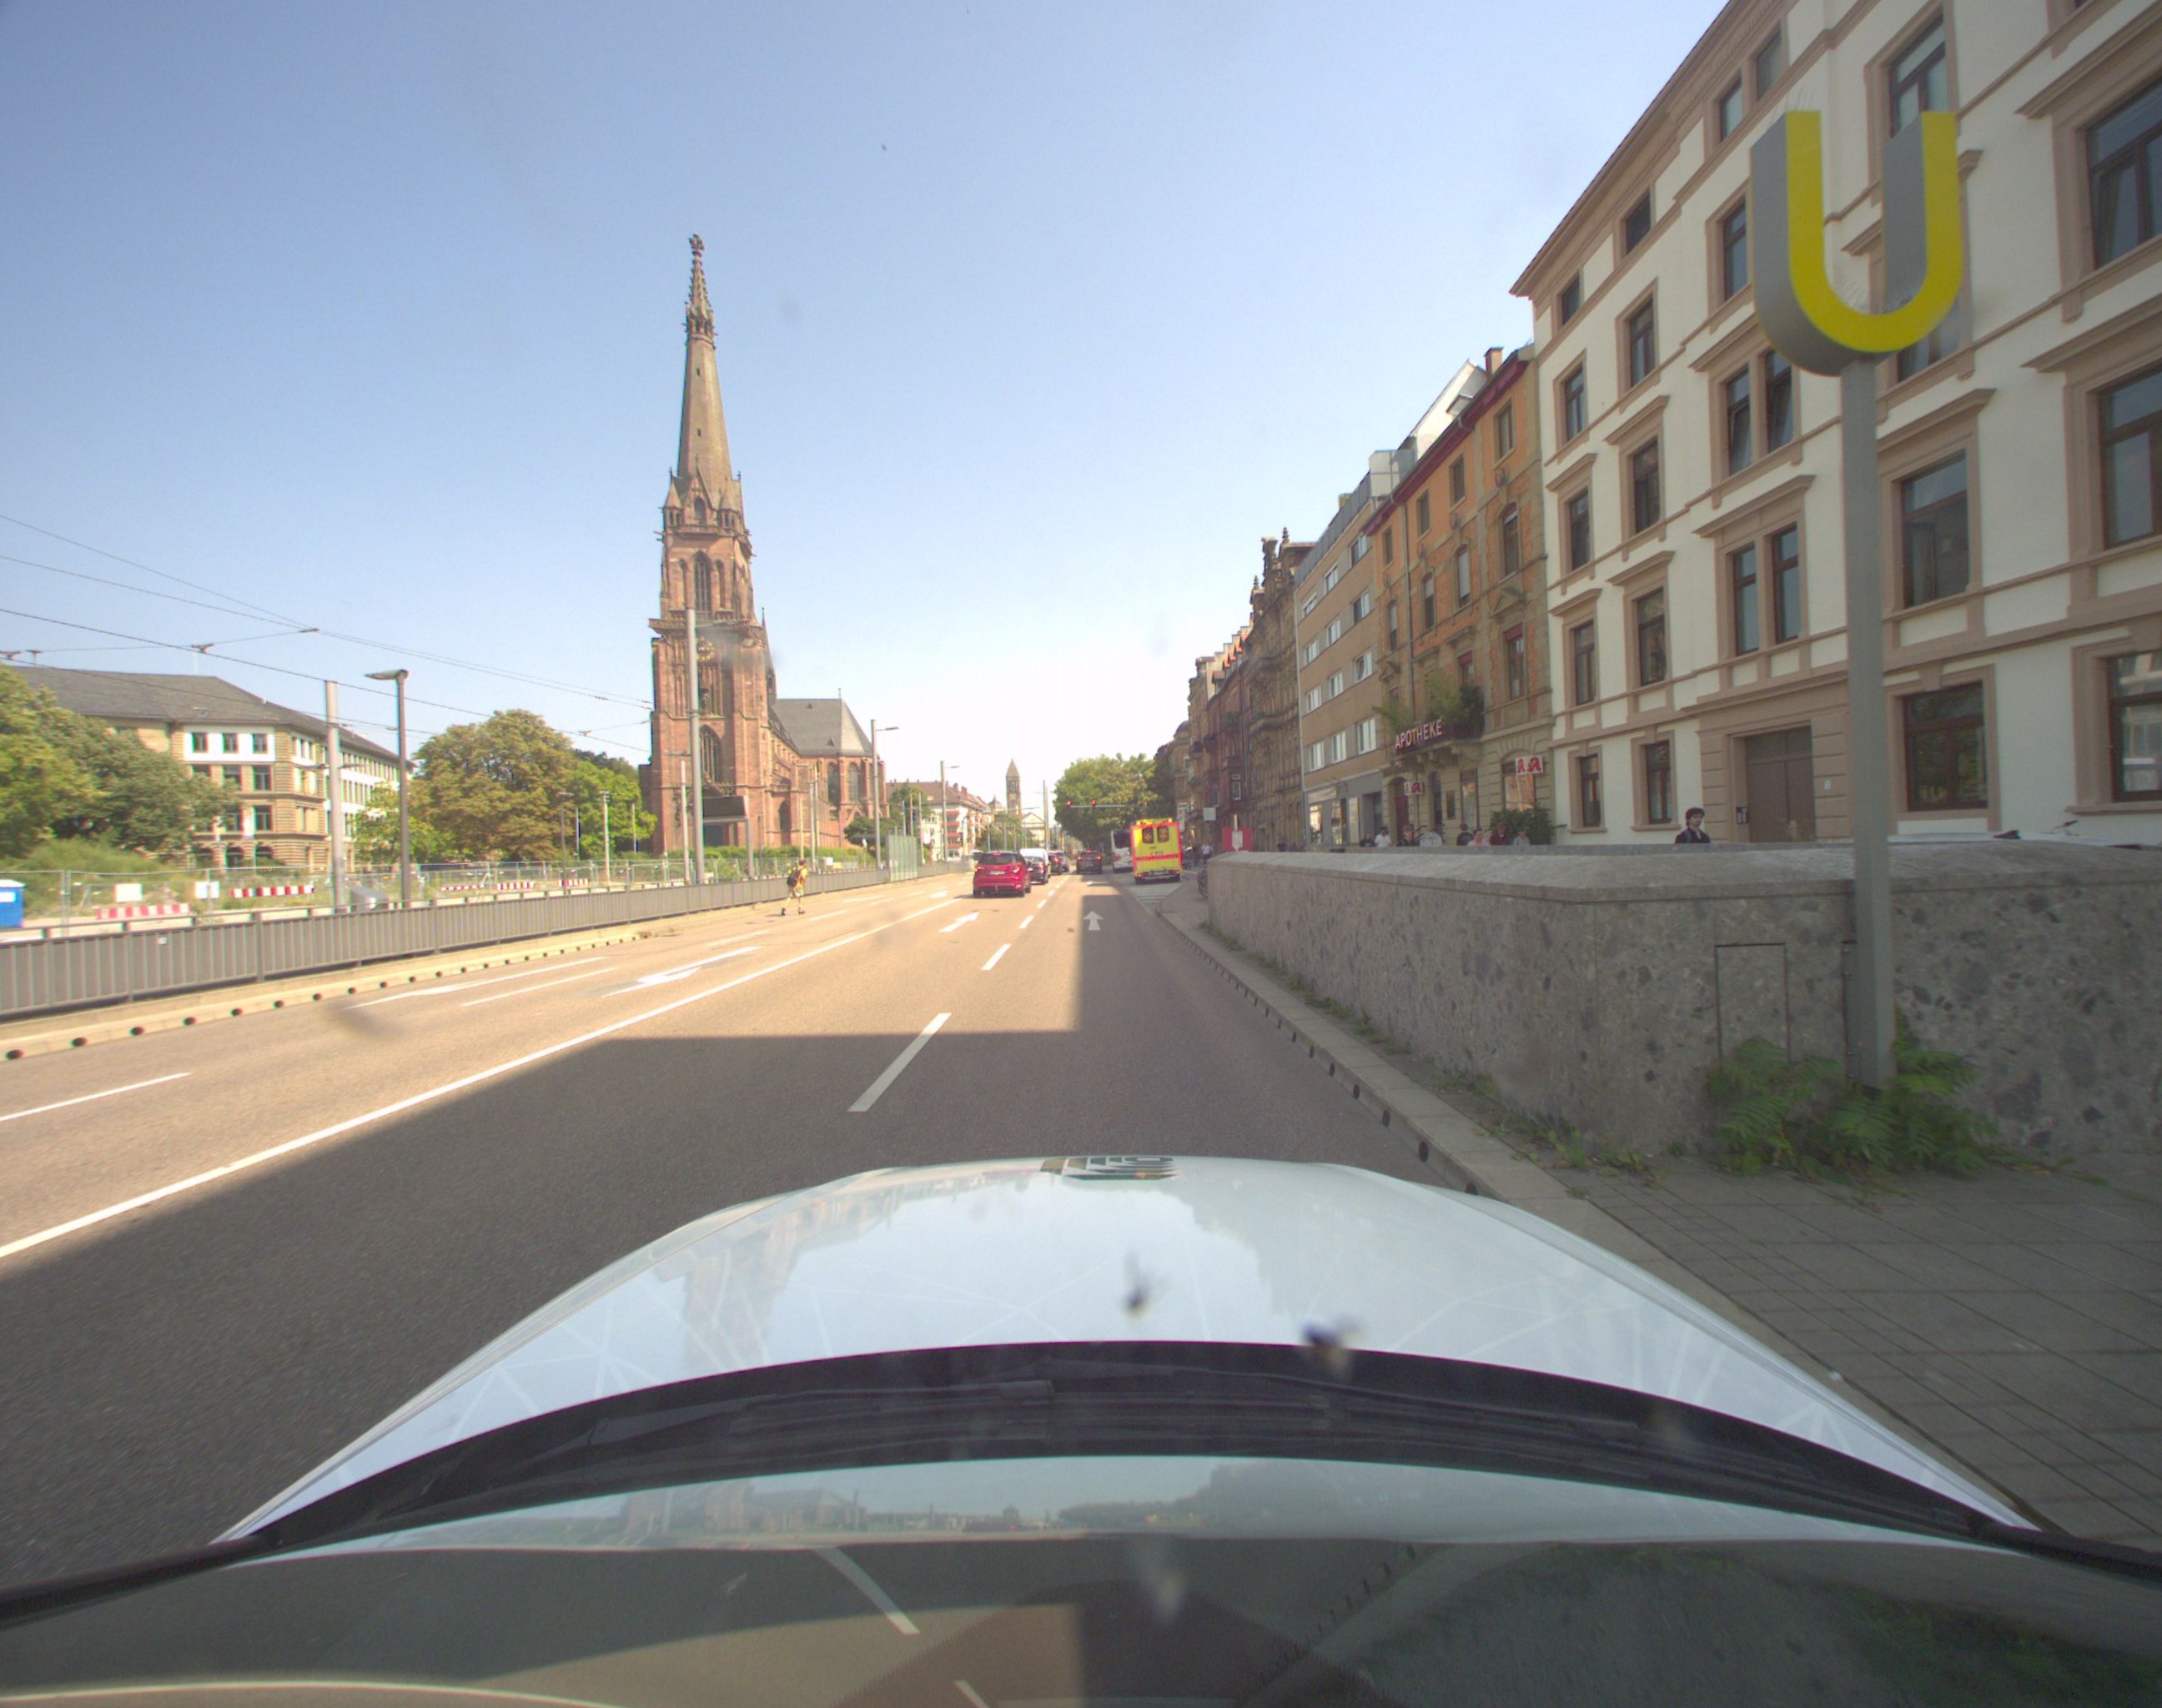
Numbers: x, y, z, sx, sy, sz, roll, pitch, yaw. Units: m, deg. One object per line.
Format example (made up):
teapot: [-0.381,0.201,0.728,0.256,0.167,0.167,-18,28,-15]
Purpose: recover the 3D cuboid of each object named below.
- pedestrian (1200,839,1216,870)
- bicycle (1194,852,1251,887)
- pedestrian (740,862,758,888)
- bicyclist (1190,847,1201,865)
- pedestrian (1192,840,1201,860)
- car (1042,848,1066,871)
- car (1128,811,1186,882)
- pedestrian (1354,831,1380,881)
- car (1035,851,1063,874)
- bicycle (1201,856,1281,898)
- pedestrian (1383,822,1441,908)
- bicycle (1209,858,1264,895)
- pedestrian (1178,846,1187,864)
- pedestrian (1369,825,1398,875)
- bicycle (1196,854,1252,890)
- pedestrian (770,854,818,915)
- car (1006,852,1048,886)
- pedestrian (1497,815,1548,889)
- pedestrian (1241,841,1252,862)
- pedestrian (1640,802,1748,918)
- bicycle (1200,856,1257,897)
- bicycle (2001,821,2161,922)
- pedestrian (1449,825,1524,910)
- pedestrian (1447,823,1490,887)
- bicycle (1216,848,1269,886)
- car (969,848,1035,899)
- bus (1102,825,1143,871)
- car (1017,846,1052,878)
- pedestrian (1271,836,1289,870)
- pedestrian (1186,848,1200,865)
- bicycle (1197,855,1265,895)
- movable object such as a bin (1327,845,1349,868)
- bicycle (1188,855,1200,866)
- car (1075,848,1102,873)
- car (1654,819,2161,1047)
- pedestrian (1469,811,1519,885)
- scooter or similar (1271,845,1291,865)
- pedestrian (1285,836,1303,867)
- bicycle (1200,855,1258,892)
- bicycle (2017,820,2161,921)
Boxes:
pedestrian: [7.135,0.027,45.714,0.690,1.667,0.606,-2,0,26]
bicycle: [4.602,0.513,26.548,1.768,1.072,0.645,-2,0,4]
pedestrian: [-22.501,1.421,55.214,0.826,1.752,0.721,-2,-1,1]
bicyclist: [8.769,0.175,62.305,0.750,1.321,0.582,-2,0,0]
pedestrian: [9.868,-0.332,69.701,0.694,1.667,0.603,-2,0,2]
car: [-2.093,0.411,64.269,1.785,1.698,3.998,-2,0,-1]
car: [3.435,-0.352,37.493,2.288,2.888,5.606,-4,1,4]
pedestrian: [10.473,0.063,29.843,0.575,1.750,0.679,-5,0,0]
car: [-2.193,0.576,56.651,1.785,1.472,3.998,-2,0,-1]
bicycle: [4.393,0.630,22.403,2.117,1.071,0.381,-2,1,-4]
pedestrian: [7.042,0.216,17.371,0.845,1.728,0.973,-3,2,7]
bicycle: [4.508,0.657,23.634,1.532,1.016,0.365,-2,1,0]
pedestrian: [9.582,0.113,76.613,0.694,1.667,1.065,-2,0,2]
pedestrian: [11.088,-0.149,29.906,0.597,1.795,0.880,-5,0,0]
bicycle: [4.510,0.552,25.732,1.652,1.072,0.644,-2,0,0]
pedestrian: [-8.550,0.890,24.301,0.754,1.752,1.075,-3,-1,26]
car: [-2.577,0.685,39.491,1.785,1.431,3.998,-3,1,-1]
pedestrian: [10.981,-0.055,20.268,0.682,1.773,1.017,-2,1,0]
pedestrian: [13.182,-0.196,64.809,0.622,1.593,0.695,-3,0,-5]
pedestrian: [8.841,0.077,11.757,0.856,1.582,0.961,-2,0,-33]
bicycle: [4.122,0.623,22.809,1.532,1.071,0.365,-2,1,0]
bicycle: [12.828,0.190,9.955,0.478,1.146,2.473,-2,2,3]
pedestrian: [7.951,0.252,15.980,0.856,1.582,0.961,-2,0,-33]
pedestrian: [11.646,0.017,24.504,0.841,1.846,0.684,-4,0,-9]
bicycle: [5.379,0.419,27.244,1.665,1.215,0.645,-2,0,5]
car: [-2.748,0.638,29.247,1.755,1.618,4.085,-2,0,2]
bus: [3.006,-0.460,62.411,2.525,3.031,12.437,-2,0,1]
car: [-2.717,0.480,48.305,1.785,1.780,3.998,-2,0,-1]
pedestrian: [9.949,-0.055,40.717,0.641,1.685,0.789,-2,0,0]
pedestrian: [12.120,0.225,88.335,1.245,1.751,1.526,-2,2,1]
bicycle: [4.261,0.603,23.185,1.829,1.071,0.365,-2,1,0]
movable object such as a bin: [12.467,0.117,39.447,0.651,1.047,0.755,-3,1,-43]
bicycle: [8.627,0.498,62.327,0.587,0.854,1.775,-2,0,-1]
car: [0.511,0.462,57.798,1.785,1.677,3.998,-2,0,-1]
car: [7.119,0.471,7.153,1.625,1.440,3.620,-2,1,0]
pedestrian: [10.242,-0.155,20.220,0.682,1.773,1.017,-2,1,0]
scooter or similar: [12.343,0.052,50.244,0.514,1.196,1.296,-2,0,-19]
pedestrian: [10.629,-0.118,40.695,0.641,1.493,0.789,-2,0,0]
bicycle: [4.528,0.592,24.957,1.652,1.071,0.644,-2,1,0]
bicycle: [12.912,0.187,10.102,0.456,1.184,1.847,-2,0,1]
